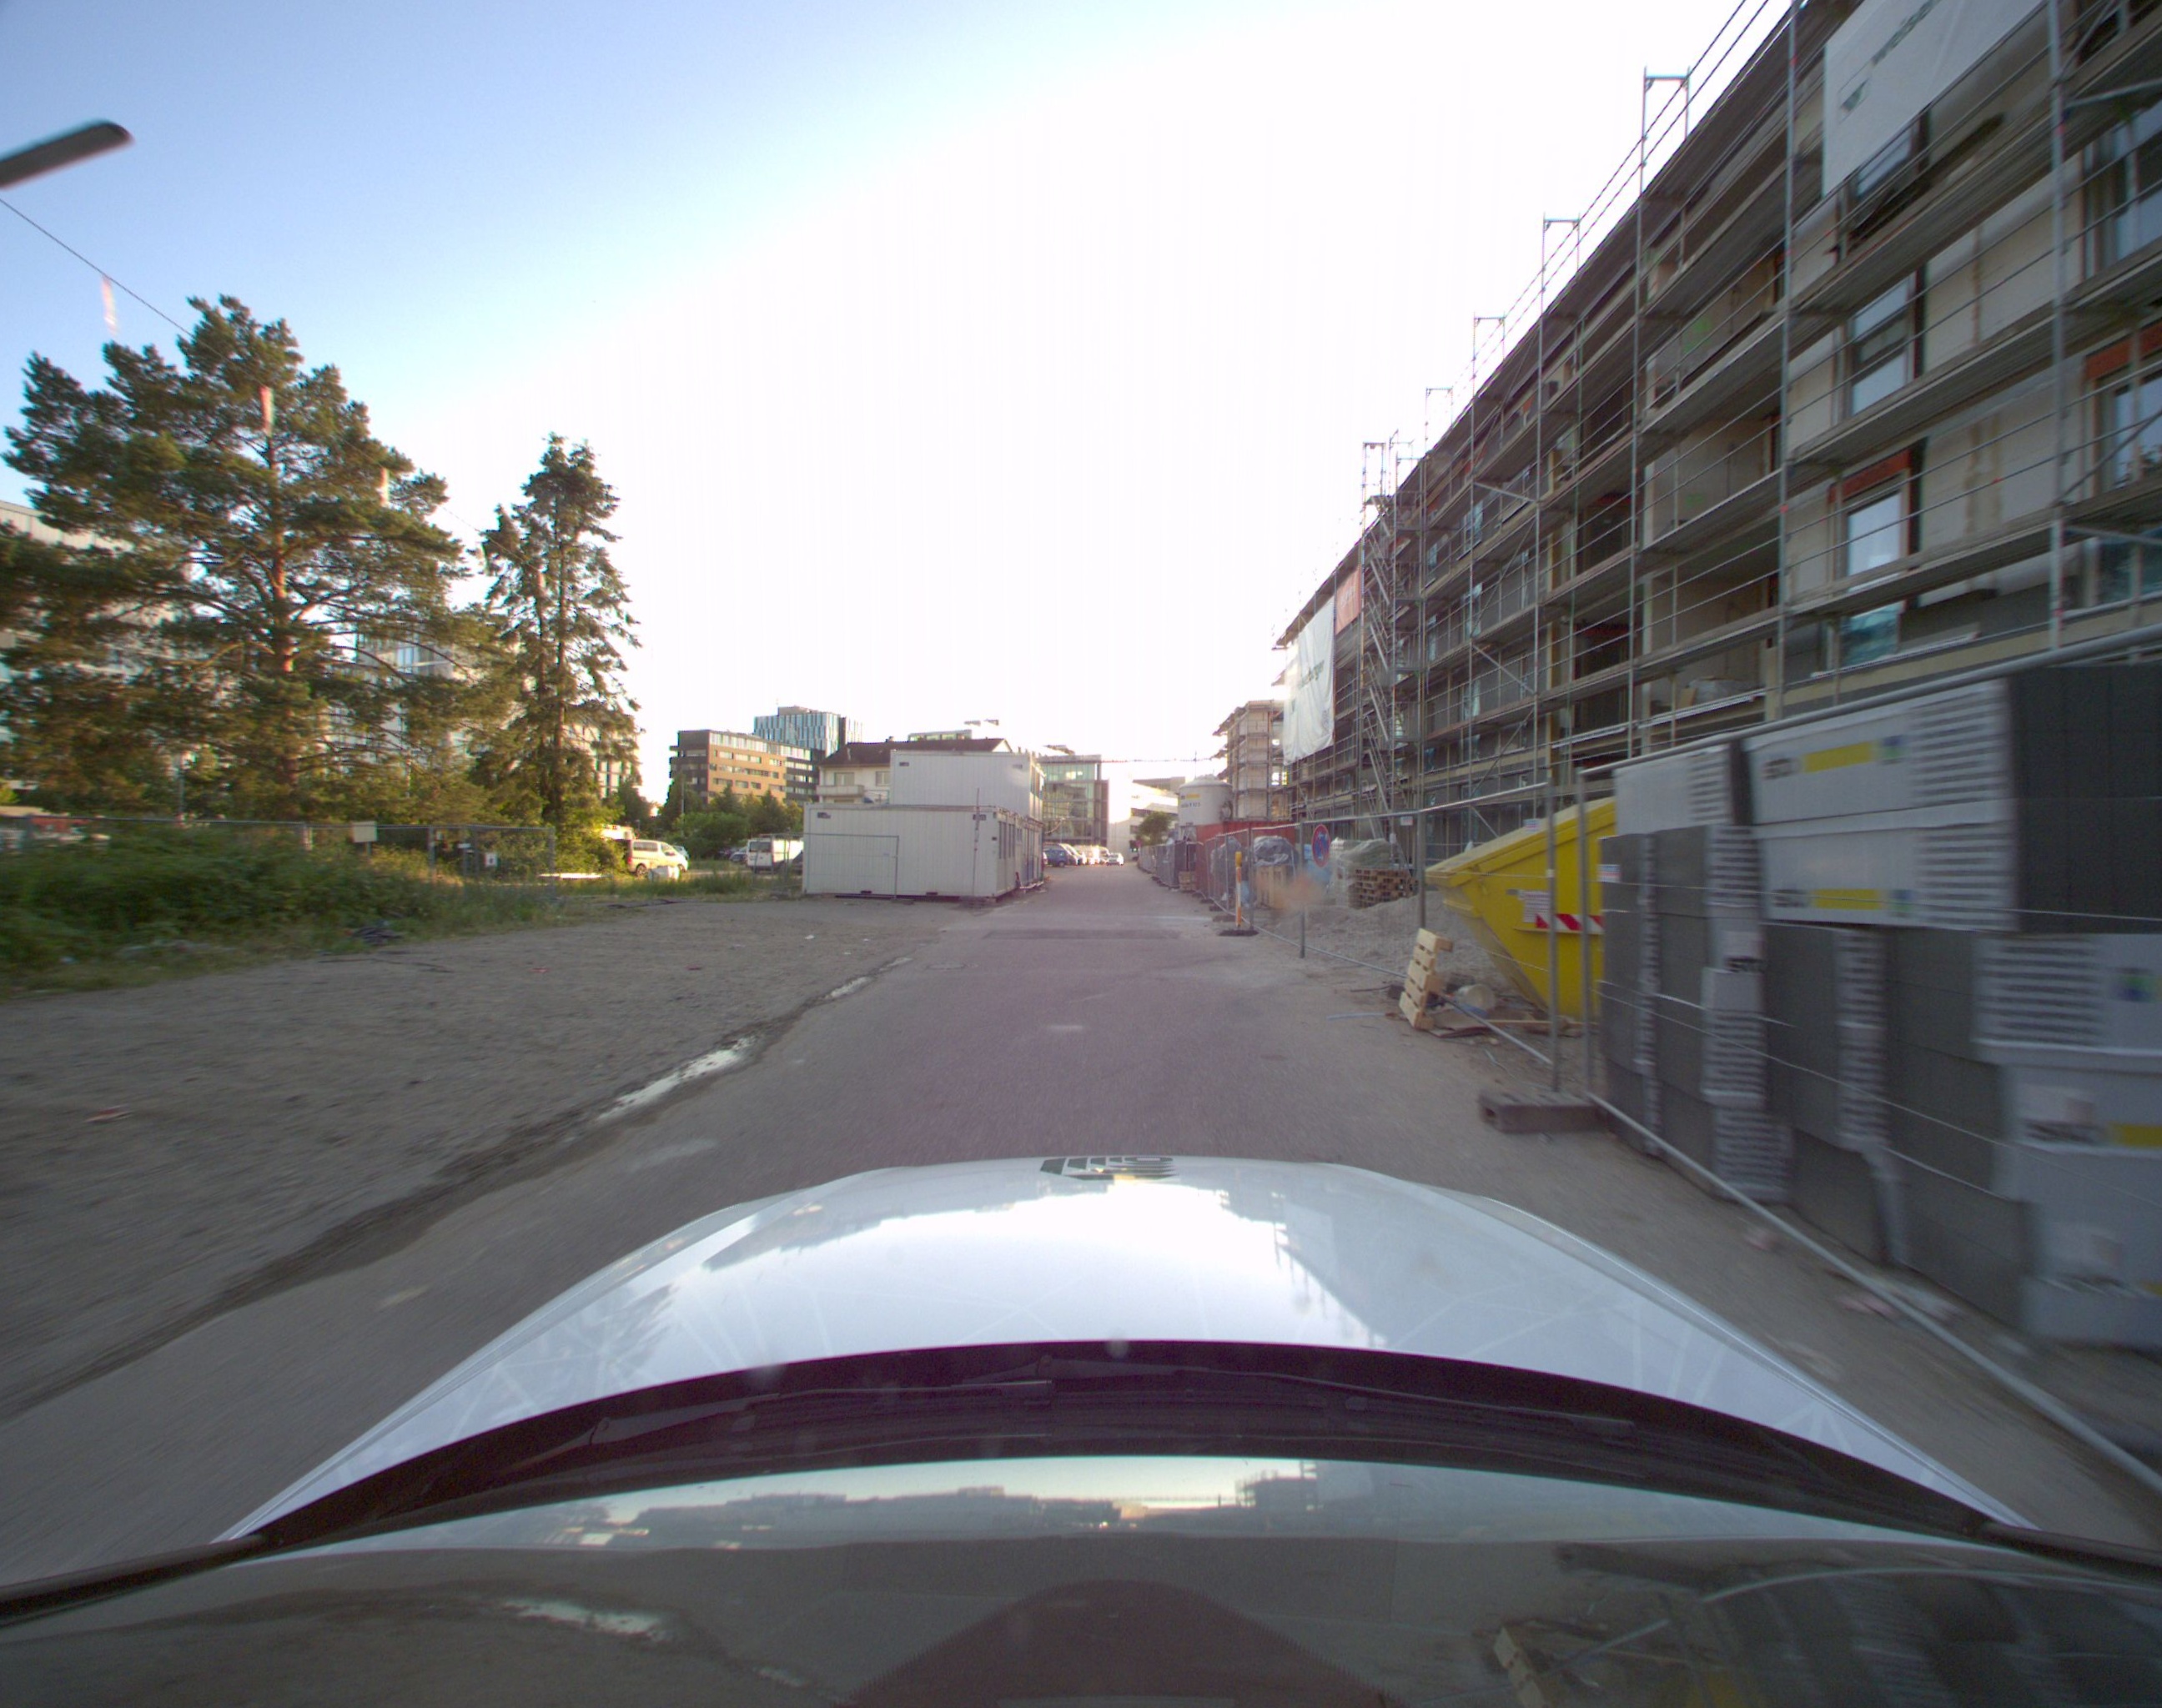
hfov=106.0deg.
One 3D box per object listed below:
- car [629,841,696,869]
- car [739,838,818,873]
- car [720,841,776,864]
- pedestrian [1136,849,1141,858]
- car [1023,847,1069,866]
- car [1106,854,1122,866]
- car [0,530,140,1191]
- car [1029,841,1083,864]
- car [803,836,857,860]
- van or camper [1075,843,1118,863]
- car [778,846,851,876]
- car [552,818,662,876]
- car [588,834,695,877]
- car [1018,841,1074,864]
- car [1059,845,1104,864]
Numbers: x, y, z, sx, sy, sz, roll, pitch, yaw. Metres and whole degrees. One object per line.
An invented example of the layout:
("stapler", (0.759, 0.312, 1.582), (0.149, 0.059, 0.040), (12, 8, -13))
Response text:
("car", (-31.054, 0.108, 60.634), (1.983, 1.974, 4.868), (1, 0, 7))
("car", (-18.494, 0.114, 50.076), (2.294, 2.013, 5.071), (1, 0, 9))
("car", (-30.828, -0.117, 75.592), (2.292, 2.013, 5.075), (1, 0, 12))
("pedestrian", (11.324, -0.118, 160.486), (0.756, 1.816, 0.850), (0, 0, 26))
("car", (-3.425, 0.215, 80.283), (4.494, 1.868, 1.998), (0, 0, -4))
("car", (4.337, 0.731, 106.344), (1.654, 1.529, 3.921), (0, 0, 10))
("car", (-7.171, -0.045, 2.693), (5.664, 2.626, 2.224), (2, 0, 3))
("car", (-2.955, -0.147, 98.074), (6.303, 2.741, 2.001), (0, 0, 2))
("car", (-22.372, -0.534, 72.810), (2.292, 2.014, 5.075), (1, 0, 12))
("van or camper", (2.362, -0.158, 127.024), (6.287, 2.979, 2.301), (1, 0, 14))
("car", (-16.004, 0.416, 49.213), (2.000, 1.653, 5.071), (1, 0, 9))
("car", (-23.543, -0.332, 40.731), (1.981, 2.692, 4.873), (1, 0, 11))
("car", (-21.571, 0.080, 40.236), (1.981, 1.974, 4.873), (1, 0, 11))
("car", (-3.974, -0.172, 94.207), (6.303, 2.651, 2.001), (0, 0, 2))
("car", (0.051, 0.063, 113.264), (5.882, 2.490, 2.007), (0, 0, 13))
